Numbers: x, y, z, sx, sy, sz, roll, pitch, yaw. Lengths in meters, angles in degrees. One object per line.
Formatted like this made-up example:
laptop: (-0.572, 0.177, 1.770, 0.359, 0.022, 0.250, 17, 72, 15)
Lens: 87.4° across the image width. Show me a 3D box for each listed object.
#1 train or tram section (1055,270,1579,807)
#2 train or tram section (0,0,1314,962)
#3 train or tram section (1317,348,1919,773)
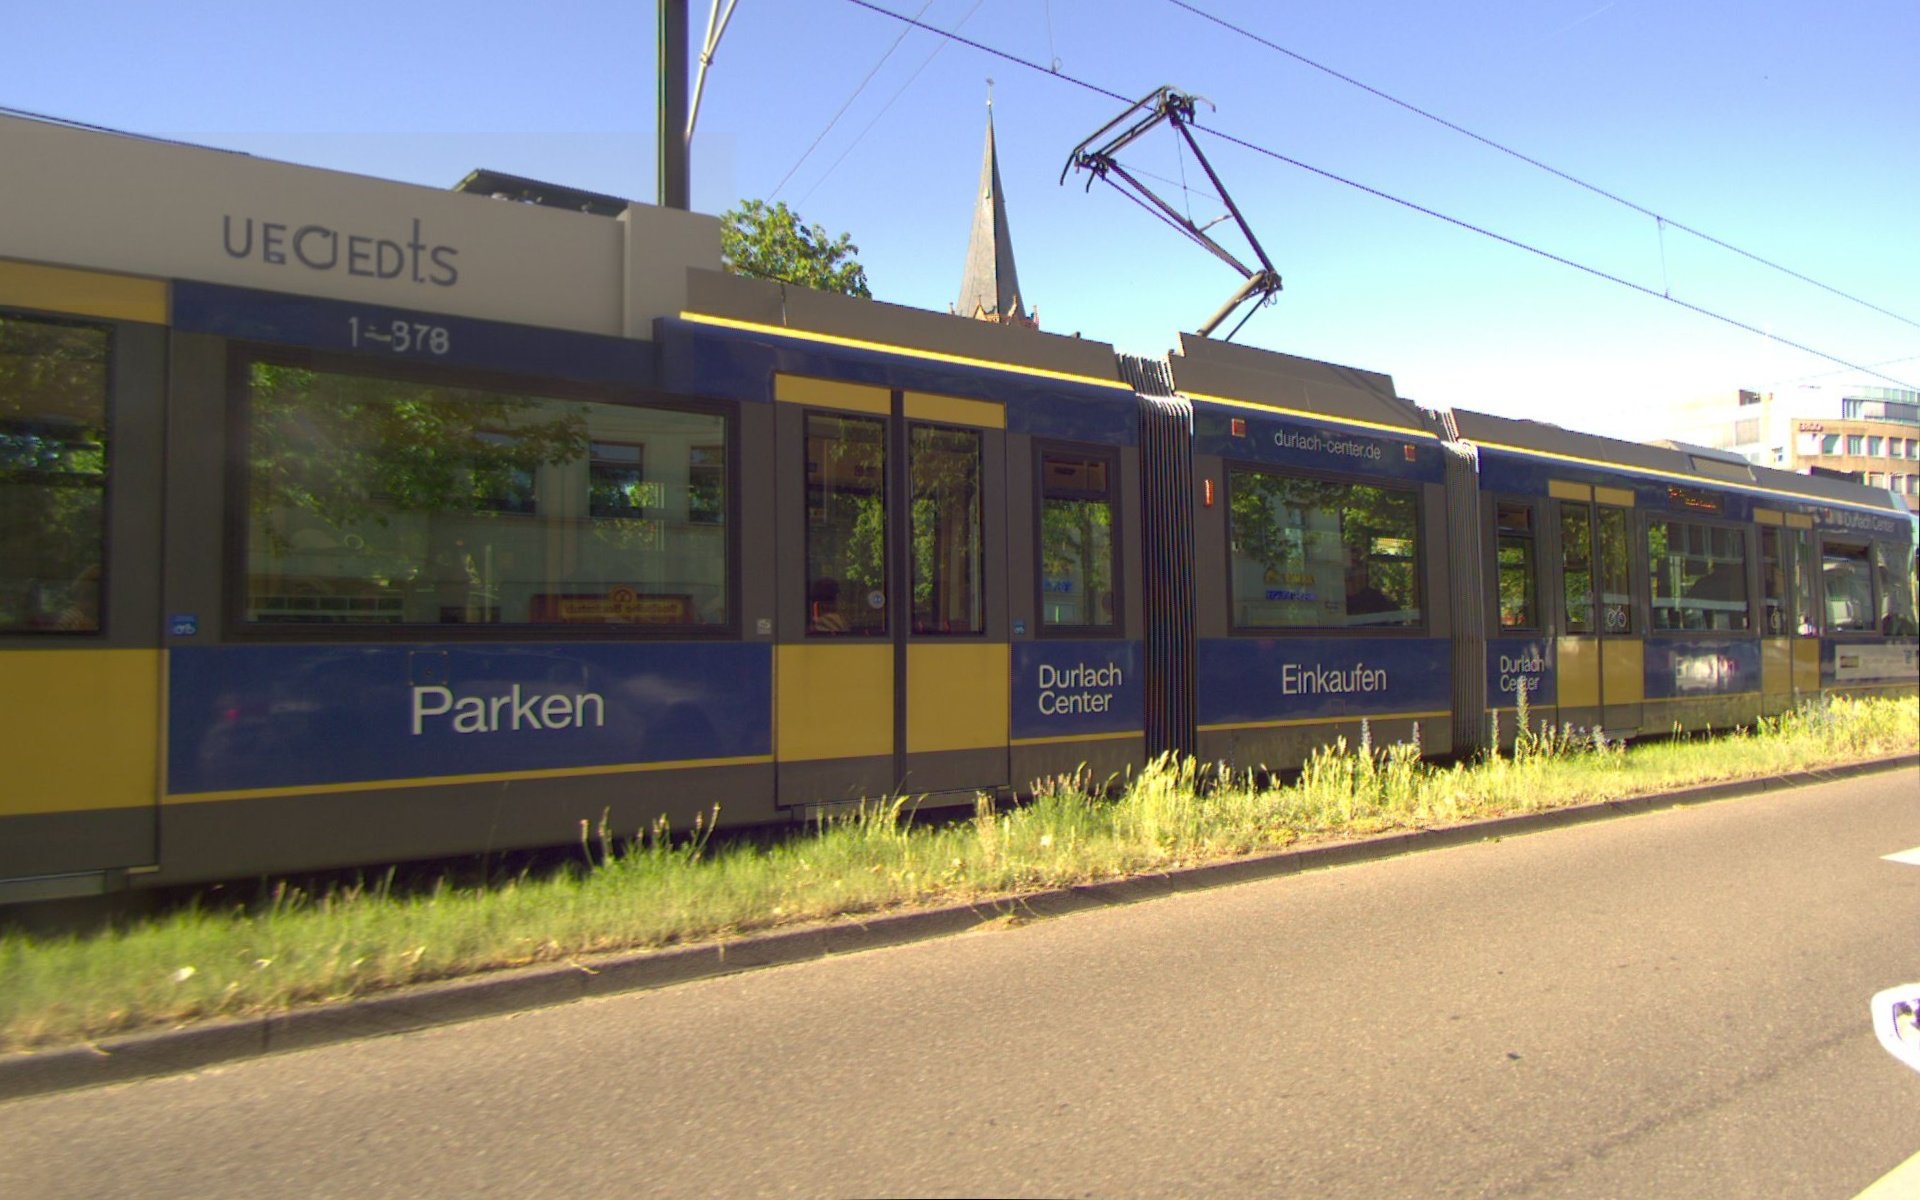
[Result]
train or tram section: (3.362, -0.425, 9.665, 3.821, 3.949, 2.940, 1, 0, -31)
train or tram section: (-4.184, -0.604, 5.012, 14.111, 3.863, 2.913, 1, 0, -31)
train or tram section: (9.562, -0.264, 13.388, 10.679, 3.949, 2.937, 1, 0, -31)
